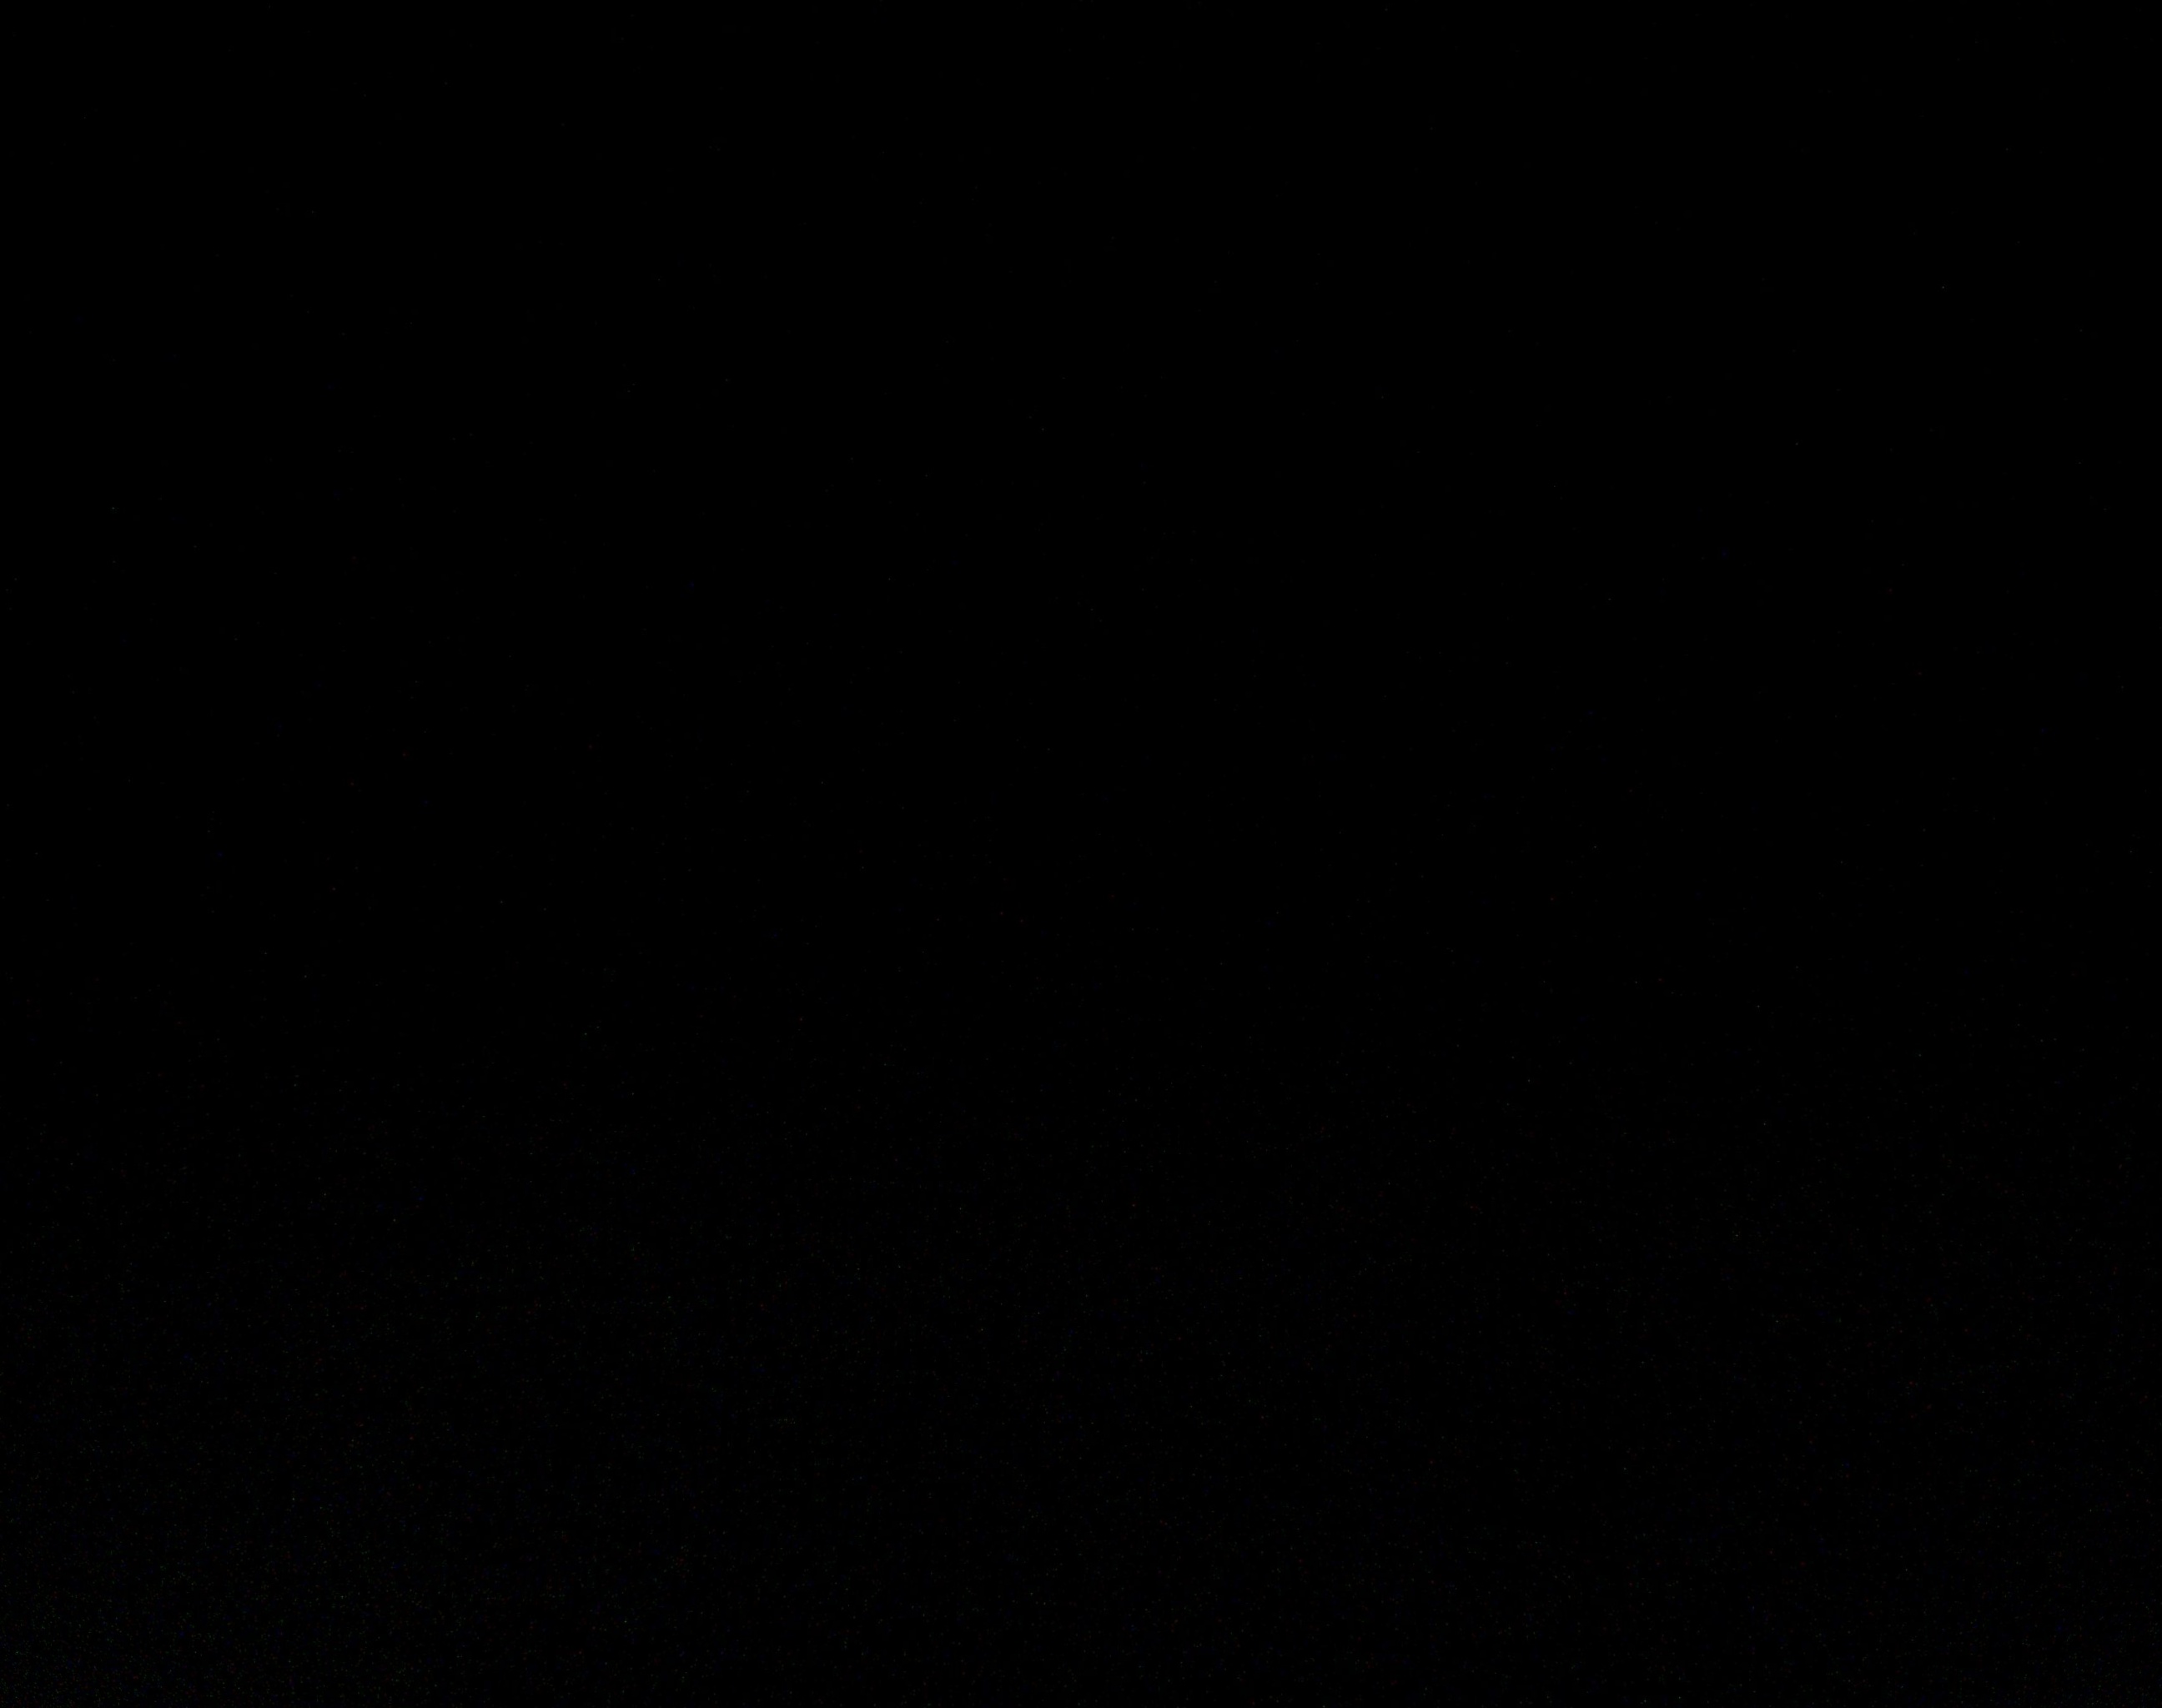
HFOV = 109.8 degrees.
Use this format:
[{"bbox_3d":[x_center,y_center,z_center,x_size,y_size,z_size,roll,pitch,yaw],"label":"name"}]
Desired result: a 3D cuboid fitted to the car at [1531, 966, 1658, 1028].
[{"bbox_3d":[24.395,6.733,36.262,2.003,2.002,4.607,-3,1,-34],"label":"car"}]
